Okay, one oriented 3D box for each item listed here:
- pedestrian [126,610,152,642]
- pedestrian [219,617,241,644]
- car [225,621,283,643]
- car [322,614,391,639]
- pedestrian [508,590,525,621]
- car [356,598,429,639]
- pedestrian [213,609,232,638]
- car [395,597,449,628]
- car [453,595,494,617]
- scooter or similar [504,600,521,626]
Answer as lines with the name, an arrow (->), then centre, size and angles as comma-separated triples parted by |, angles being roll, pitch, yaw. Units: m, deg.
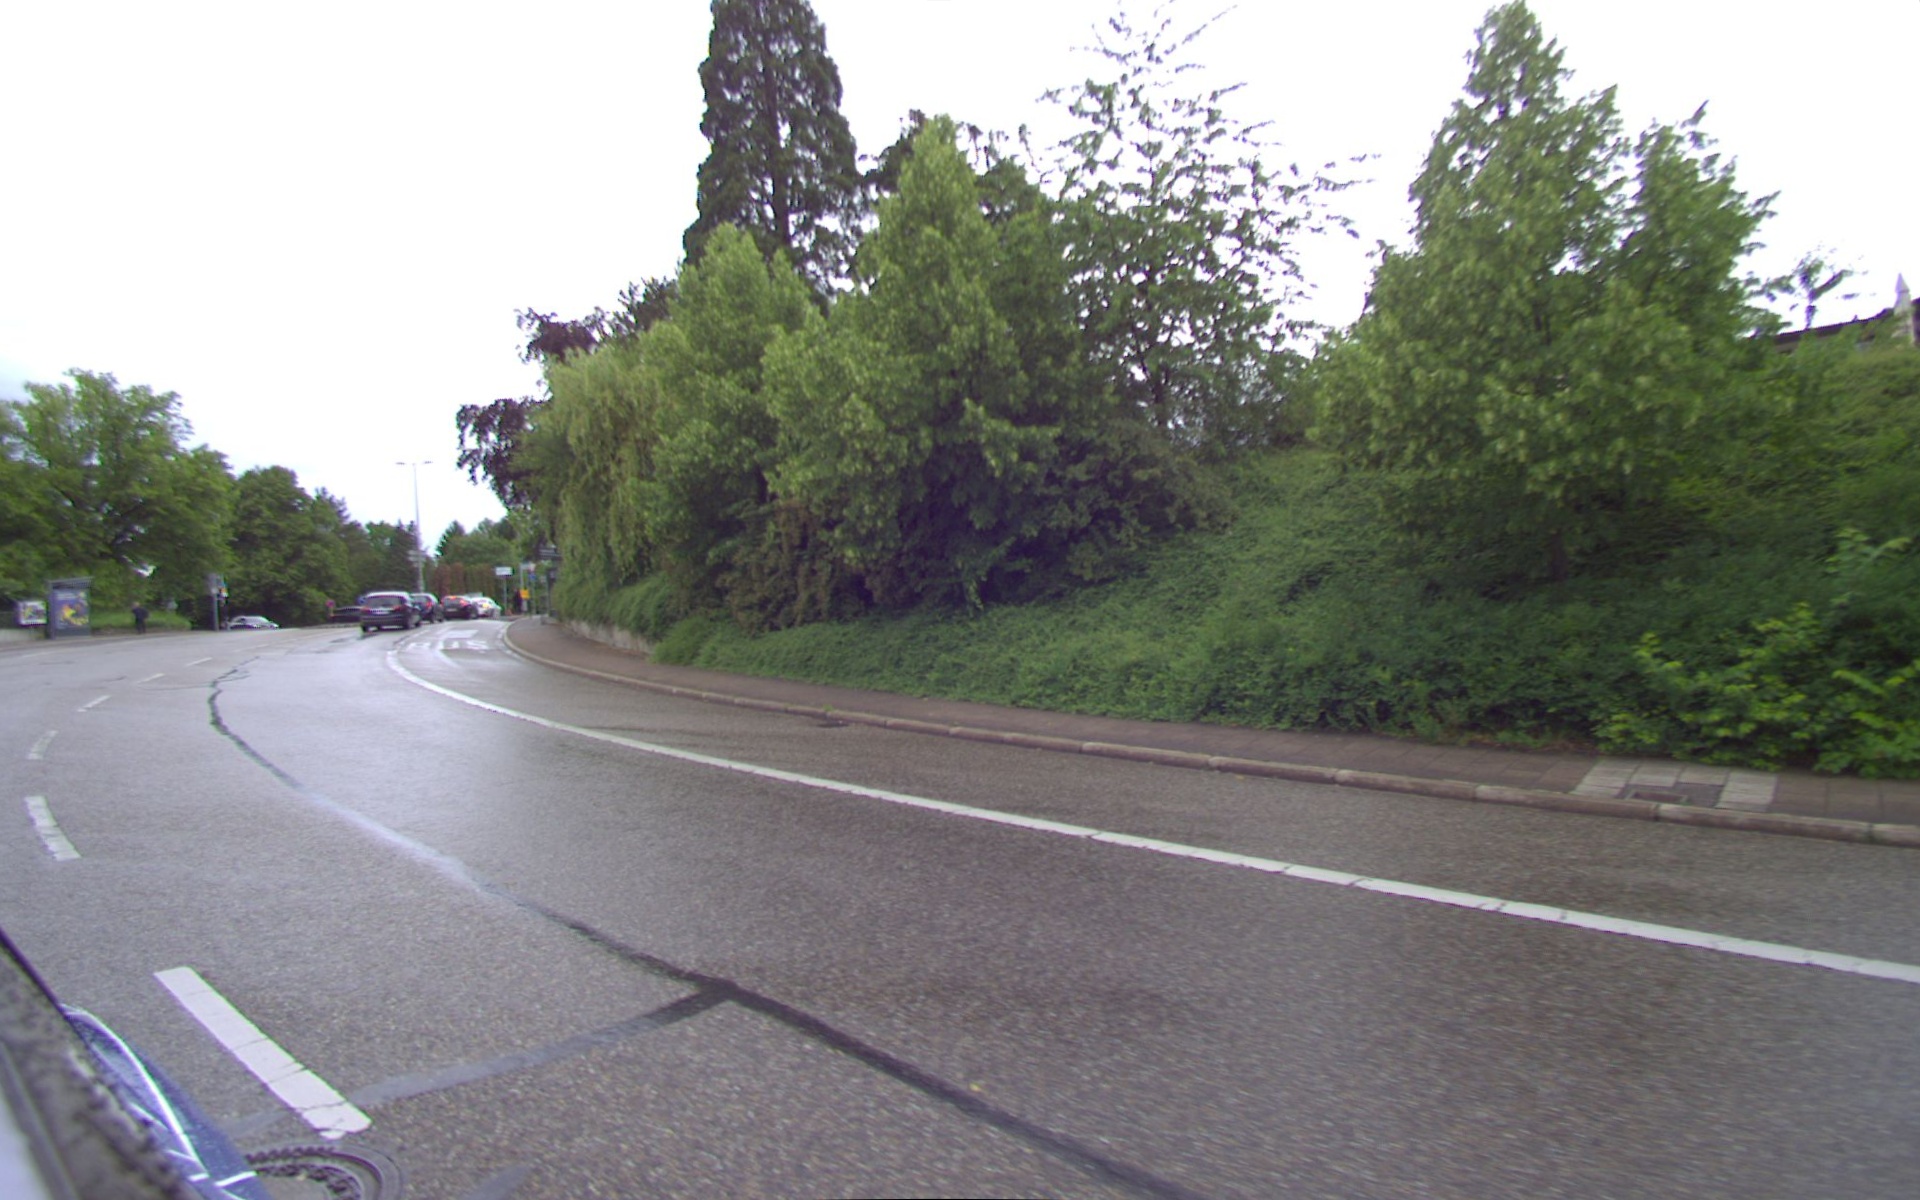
pedestrian -> -43.431, 1.368, 53.552 | 0.913, 1.667, 1.101 | -2, -1, -34
pedestrian -> -46.017, 1.918, 63.761 | 0.719, 1.667, 0.815 | -2, -1, 14
car -> -53.075, 2.411, 76.045 | 4.367, 1.425, 1.845 | -4, -1, 30
car -> -41.997, 1.838, 70.456 | 4.355, 1.425, 1.850 | -4, -1, 22
pedestrian -> -26.922, 0.336, 61.437 | 0.694, 1.821, 0.826 | -2, -1, -5
car -> -24.778, 0.769, 44.369 | 1.785, 1.588, 4.700 | -2, 1, -17
pedestrian -> -45.621, 1.440, 62.612 | 0.713, 1.746, 0.822 | -2, -1, -23
car -> -27.609, 0.651, 52.058 | 1.697, 1.475, 4.390 | -2, 0, -18
car -> -33.140, 0.396, 69.065 | 1.803, 1.412, 4.835 | -2, 0, -17
scooter or similar -> -27.151, 0.770, 61.397 | 0.503, 1.527, 1.320 | -2, 0, -5
